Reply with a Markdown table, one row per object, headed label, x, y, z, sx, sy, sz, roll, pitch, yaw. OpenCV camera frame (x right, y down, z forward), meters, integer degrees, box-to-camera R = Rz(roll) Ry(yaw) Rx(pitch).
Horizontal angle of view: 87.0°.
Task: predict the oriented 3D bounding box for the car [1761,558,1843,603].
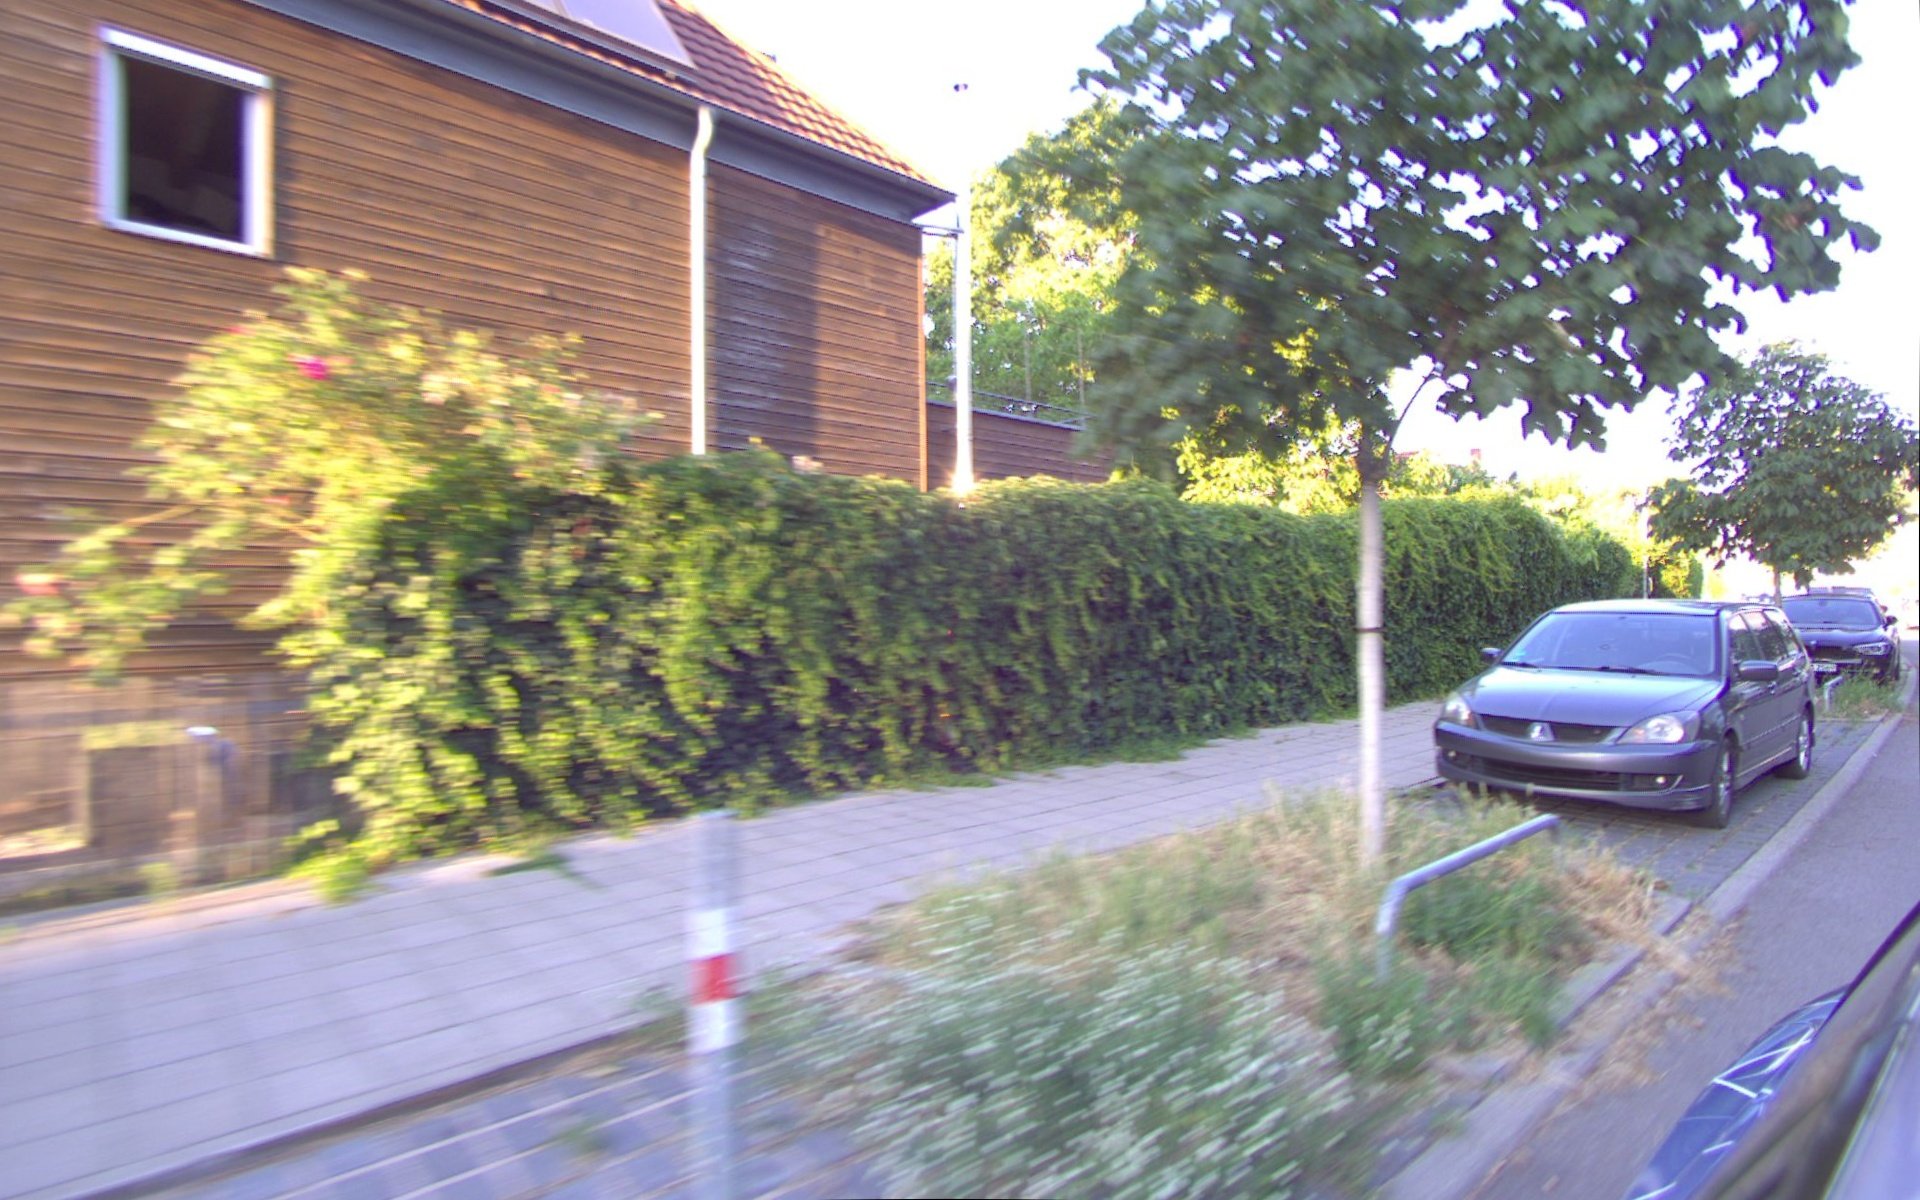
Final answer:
| label | x | y | z | sx | sy | sz | roll | pitch | yaw |
| --- | --- | --- | --- | --- | --- | --- | --- | --- | --- |
| car | 29.674 | -0.661 | 35.616 | 4.296 | 1.481 | 1.767 | 0 | 0 | -44 |

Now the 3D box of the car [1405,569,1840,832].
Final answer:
| label | x | y | z | sx | sy | sz | roll | pitch | yaw |
| --- | --- | --- | --- | --- | --- | --- | --- | --- | --- |
| car | 5.234 | 0.558 | 7.748 | 4.291 | 1.481 | 1.679 | 0 | 0 | -41 |

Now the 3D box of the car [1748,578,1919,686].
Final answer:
| label | x | y | z | sx | sy | sz | roll | pitch | yaw |
| --- | --- | --- | --- | --- | --- | --- | --- | --- | --- |
| car | 13.955 | 0.434 | 16.016 | 4.296 | 1.481 | 1.767 | 0 | 0 | -44 |

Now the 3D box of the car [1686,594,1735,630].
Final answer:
| label | x | y | z | sx | sy | sz | roll | pitch | yaw |
| --- | --- | --- | --- | --- | --- | --- | --- | --- | --- |
| car | 47.474 | 0.701 | 64.138 | 2.236 | 2.201 | 5.089 | 0 | 0 | 34 |

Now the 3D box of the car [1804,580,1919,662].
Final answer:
| label | x | y | z | sx | sy | sz | roll | pitch | yaw |
| --- | --- | --- | --- | --- | --- | --- | --- | --- | --- |
| car | 18.313 | 0.370 | 20.223 | 4.296 | 1.481 | 1.767 | 0 | 0 | -44 |

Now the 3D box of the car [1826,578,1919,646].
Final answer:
| label | x | y | z | sx | sy | sz | roll | pitch | yaw |
| --- | --- | --- | --- | --- | --- | --- | --- | --- | --- |
| car | 21.999 | 0.251 | 24.270 | 1.764 | 1.481 | 4.302 | 0 | 0 | 42 |
